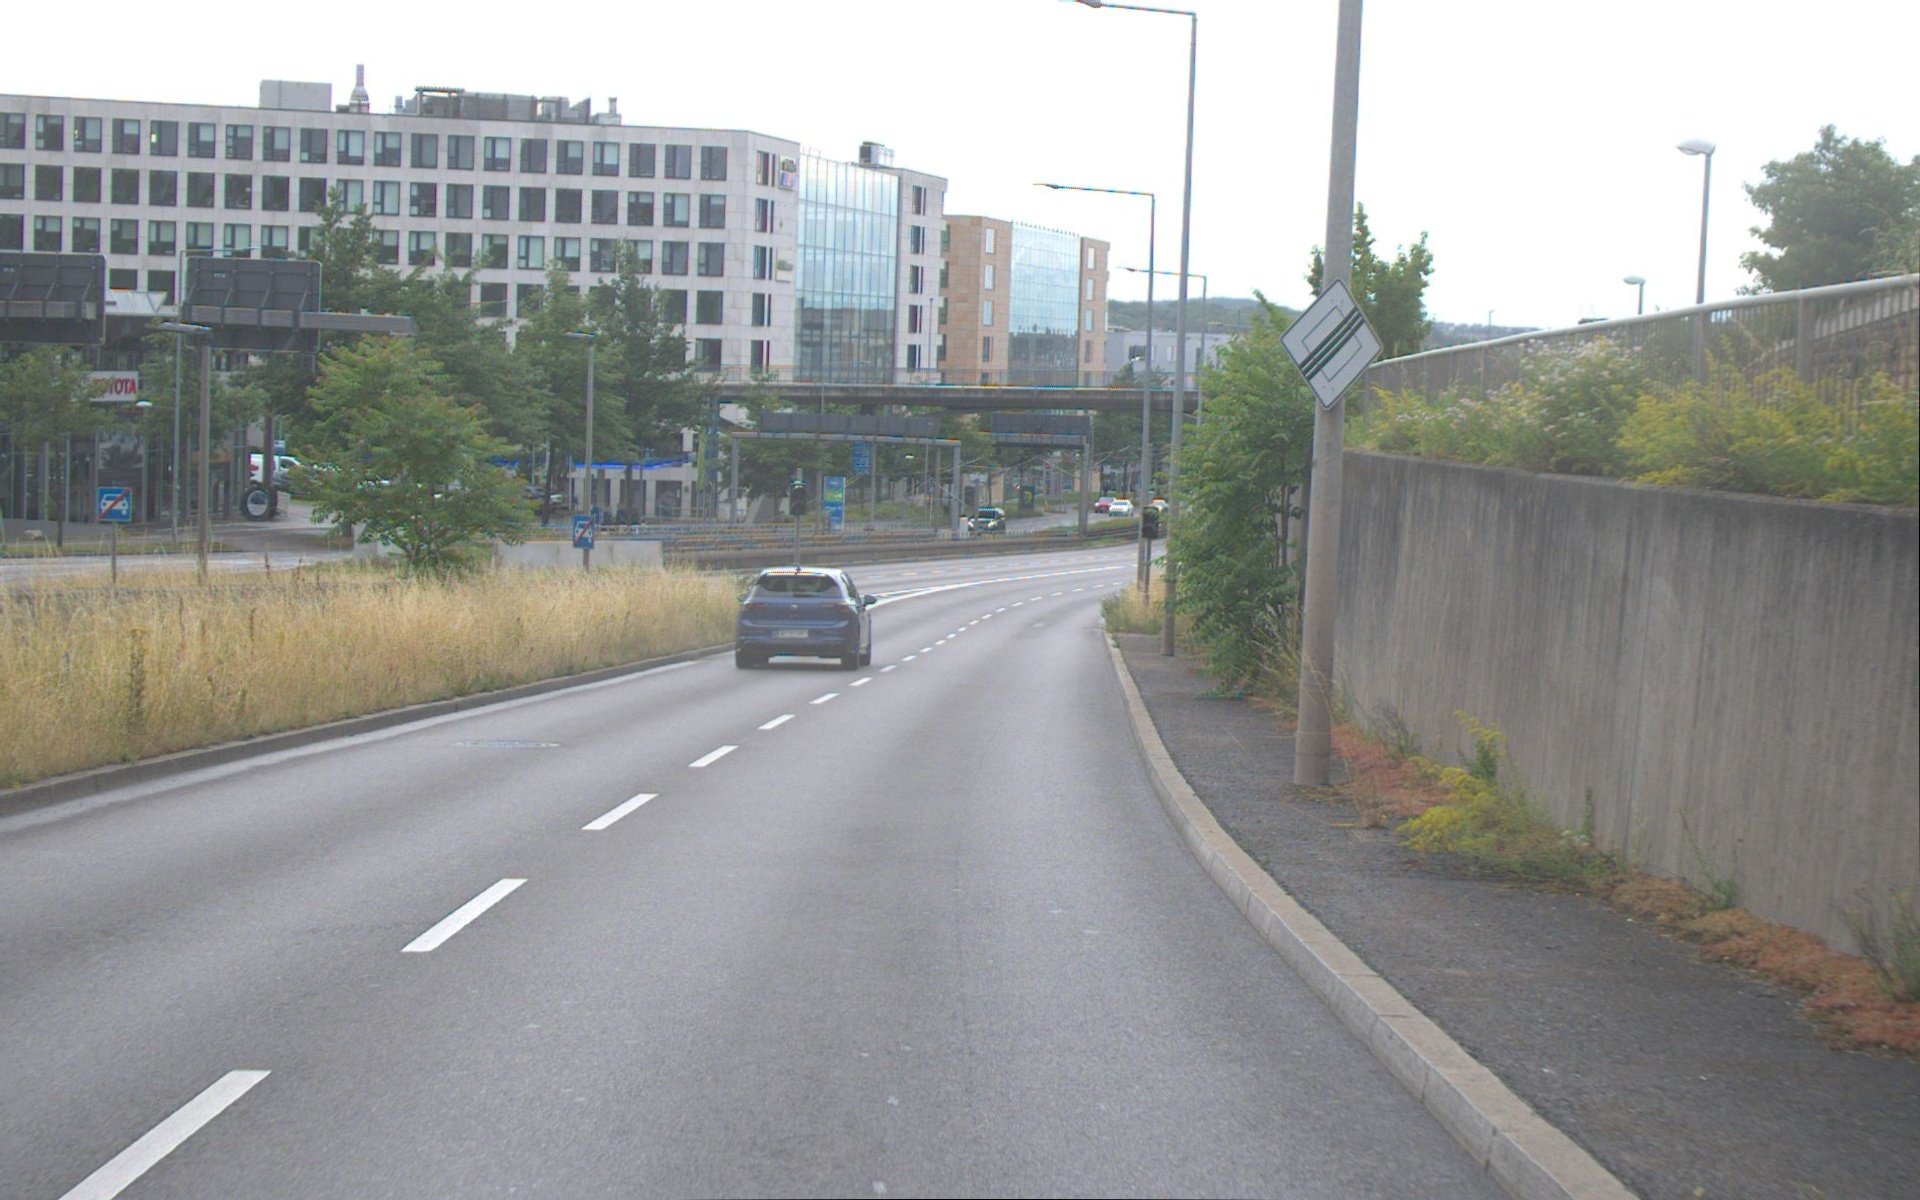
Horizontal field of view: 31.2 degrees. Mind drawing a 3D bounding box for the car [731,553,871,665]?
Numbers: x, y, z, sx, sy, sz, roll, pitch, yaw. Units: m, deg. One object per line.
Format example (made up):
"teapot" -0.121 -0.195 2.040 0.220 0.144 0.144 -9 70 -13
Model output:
"car" -2.275 0.099 49.827 1.749 1.415 3.479 -1 3 2
